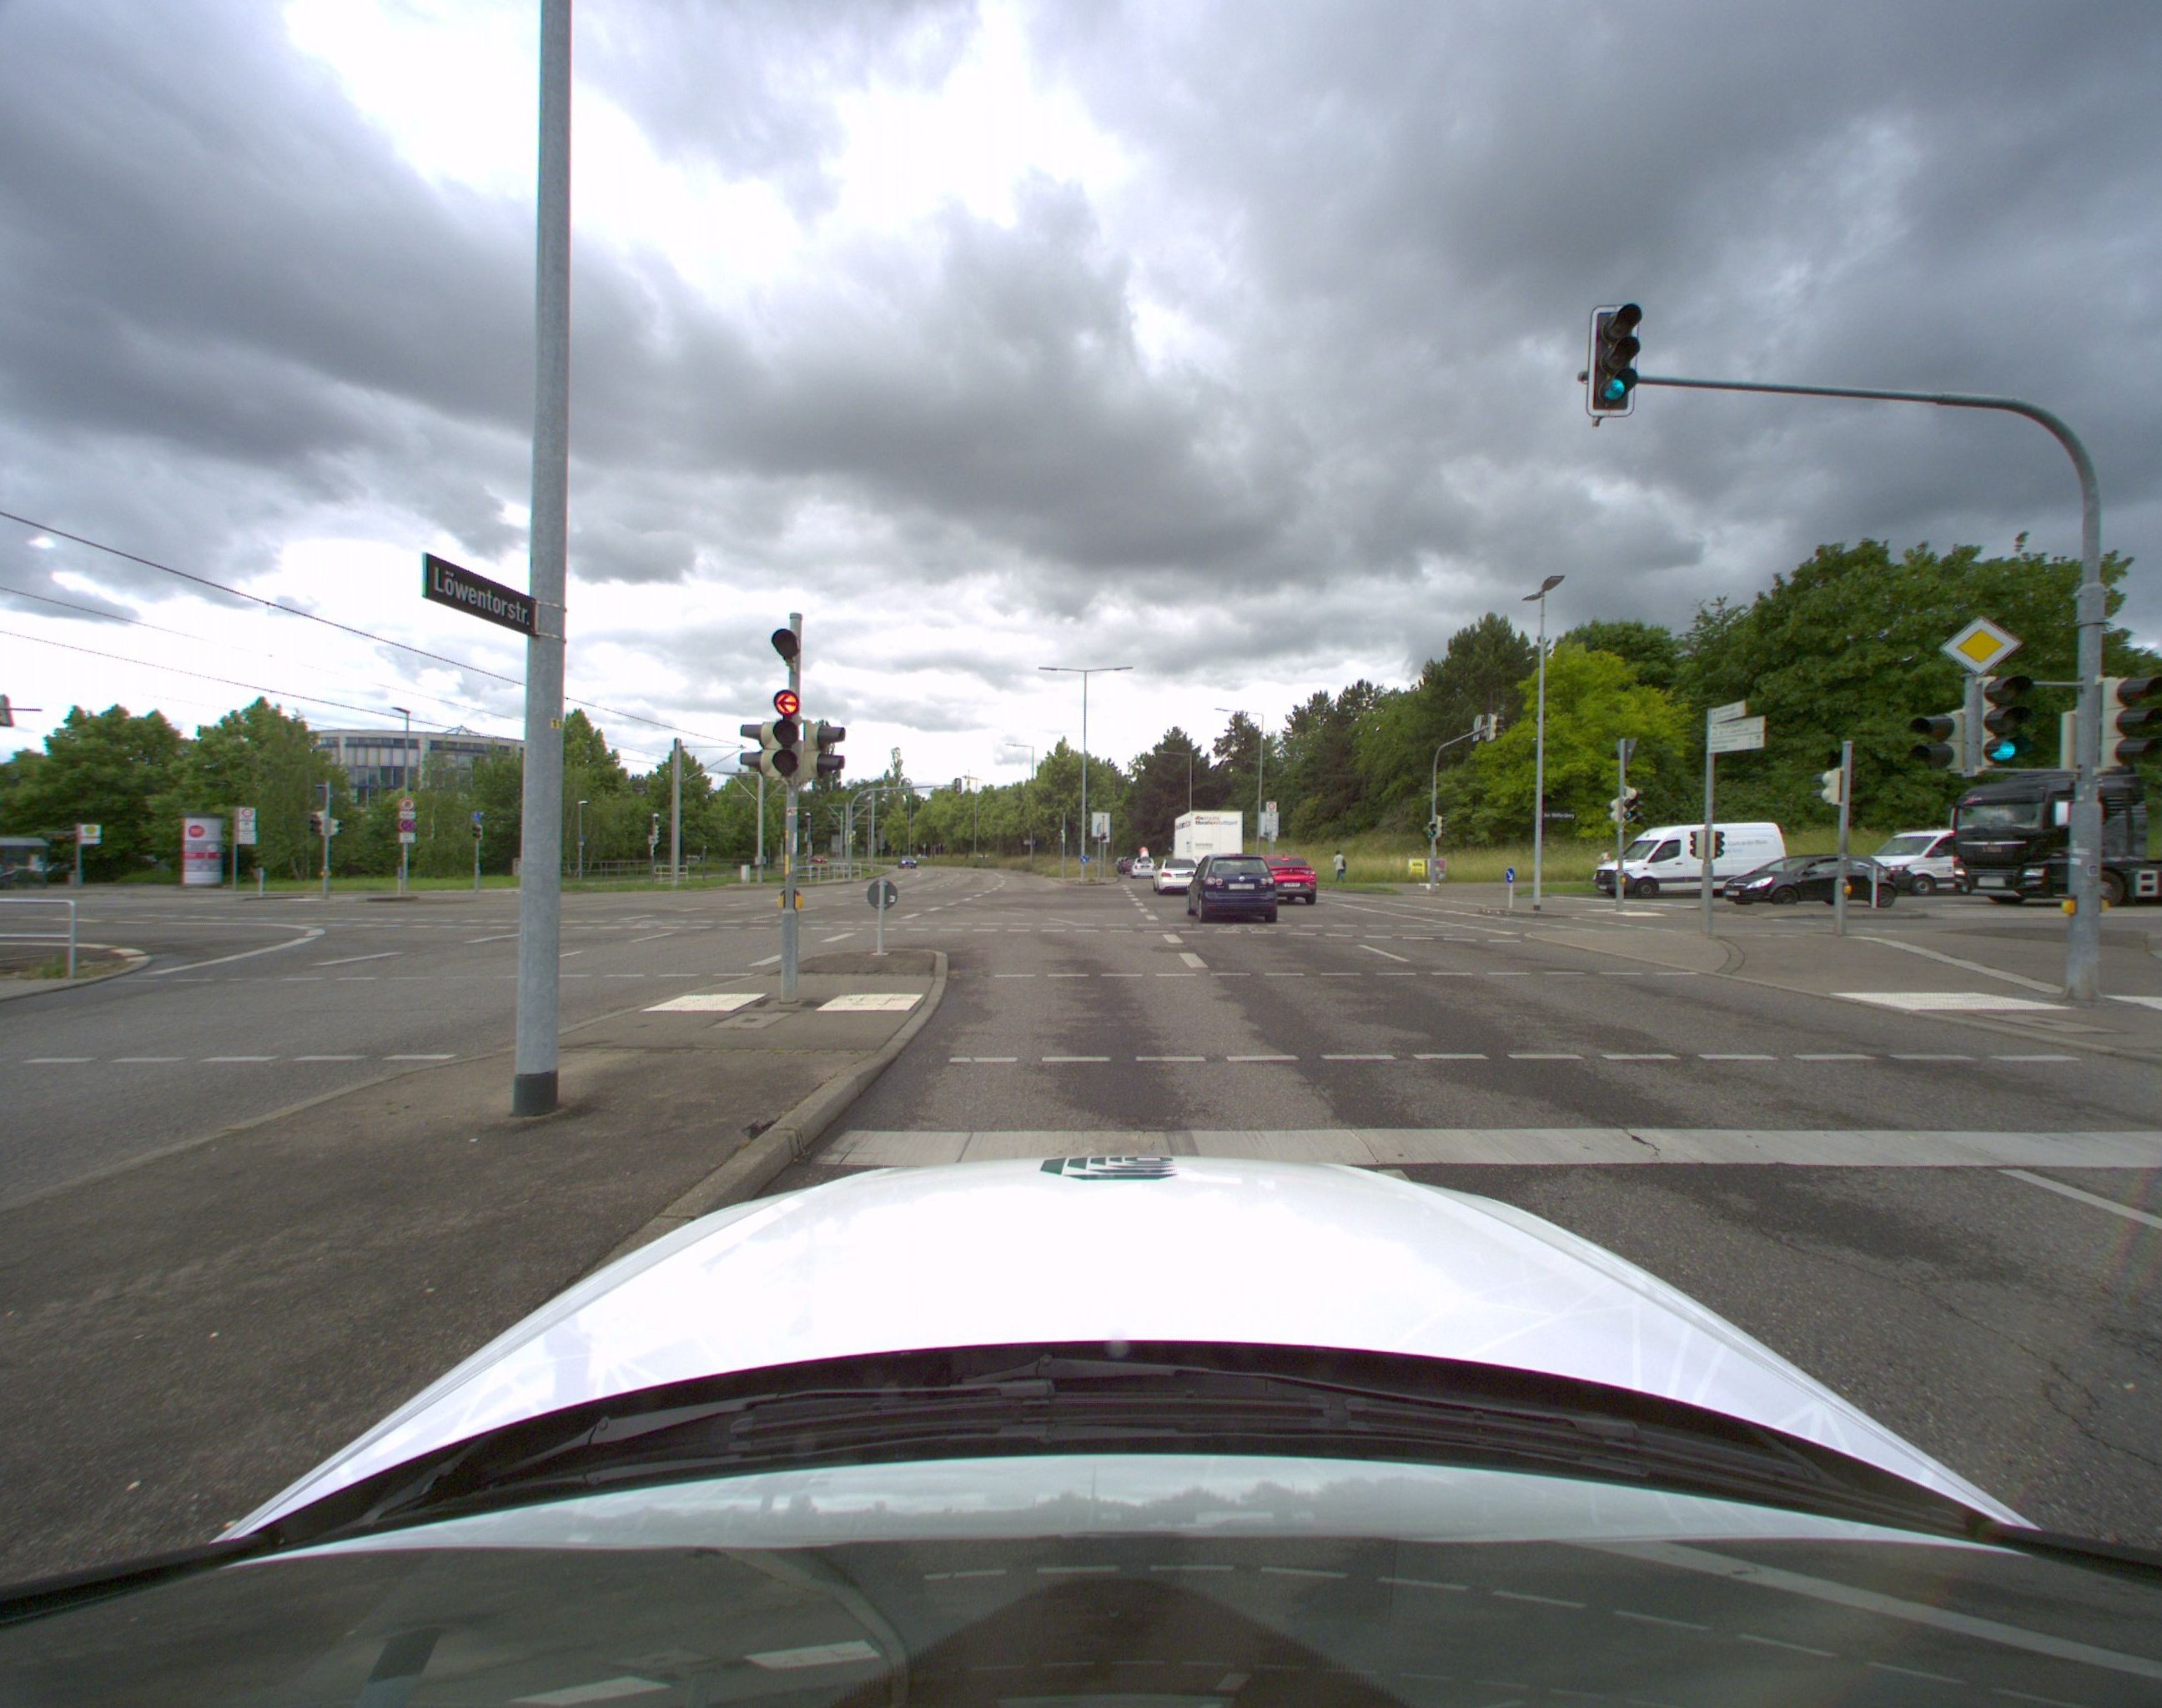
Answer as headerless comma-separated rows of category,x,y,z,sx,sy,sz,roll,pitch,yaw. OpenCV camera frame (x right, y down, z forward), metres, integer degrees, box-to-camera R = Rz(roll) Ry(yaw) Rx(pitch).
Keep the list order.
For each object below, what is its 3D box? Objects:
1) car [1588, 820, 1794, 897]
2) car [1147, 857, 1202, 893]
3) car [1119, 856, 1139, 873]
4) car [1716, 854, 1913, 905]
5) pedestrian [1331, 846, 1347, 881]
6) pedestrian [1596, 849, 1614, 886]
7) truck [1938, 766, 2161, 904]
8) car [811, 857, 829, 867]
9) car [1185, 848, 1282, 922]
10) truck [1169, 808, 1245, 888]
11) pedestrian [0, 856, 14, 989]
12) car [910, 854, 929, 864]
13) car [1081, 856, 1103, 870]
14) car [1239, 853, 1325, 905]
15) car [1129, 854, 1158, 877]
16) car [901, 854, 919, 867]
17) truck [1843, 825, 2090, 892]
car,21.866,0.167,29.381,5.780,2.630,2.002,0,-1,3
car,3.850,0.851,34.111,1.794,1.412,4.316,0,-1,0
car,4.187,0.900,71.997,1.618,1.493,3.838,0,0,1
car,20.322,0.701,22.703,3.859,1.338,1.698,0,-1,4
pedestrian,12.448,0.452,39.271,0.640,1.662,0.715,0,-1,8
pedestrian,22.935,0.577,35.661,0.638,1.612,0.718,-1,-1,32
truck,27.967,-0.506,22.275,5.971,3.486,2.694,-1,-1,4
car,-47.679,1.552,148.583,1.886,1.791,3.954,0,-1,-39
car,3.559,0.696,19.651,1.658,1.598,3.997,0,-1,1
truck,6.699,-0.319,44.902,2.793,3.903,10.184,0,0,1
pedestrian,-12.784,0.794,9.139,0.632,1.536,0.719,0,-1,-2
car,-29.575,0.901,148.968,1.641,1.711,3.758,0,-1,-42
car,1.244,1.044,94.418,1.748,1.508,4.030,0,0,-12
car,6.458,0.737,26.616,1.840,1.530,4.378,0,0,2
car,4.324,0.785,56.663,1.815,1.506,3.494,0,-1,0
car,-21.658,0.841,103.106,1.801,1.587,3.973,0,-1,-20
truck,30.956,0.176,28.658,5.992,2.230,2.165,0,-1,5
